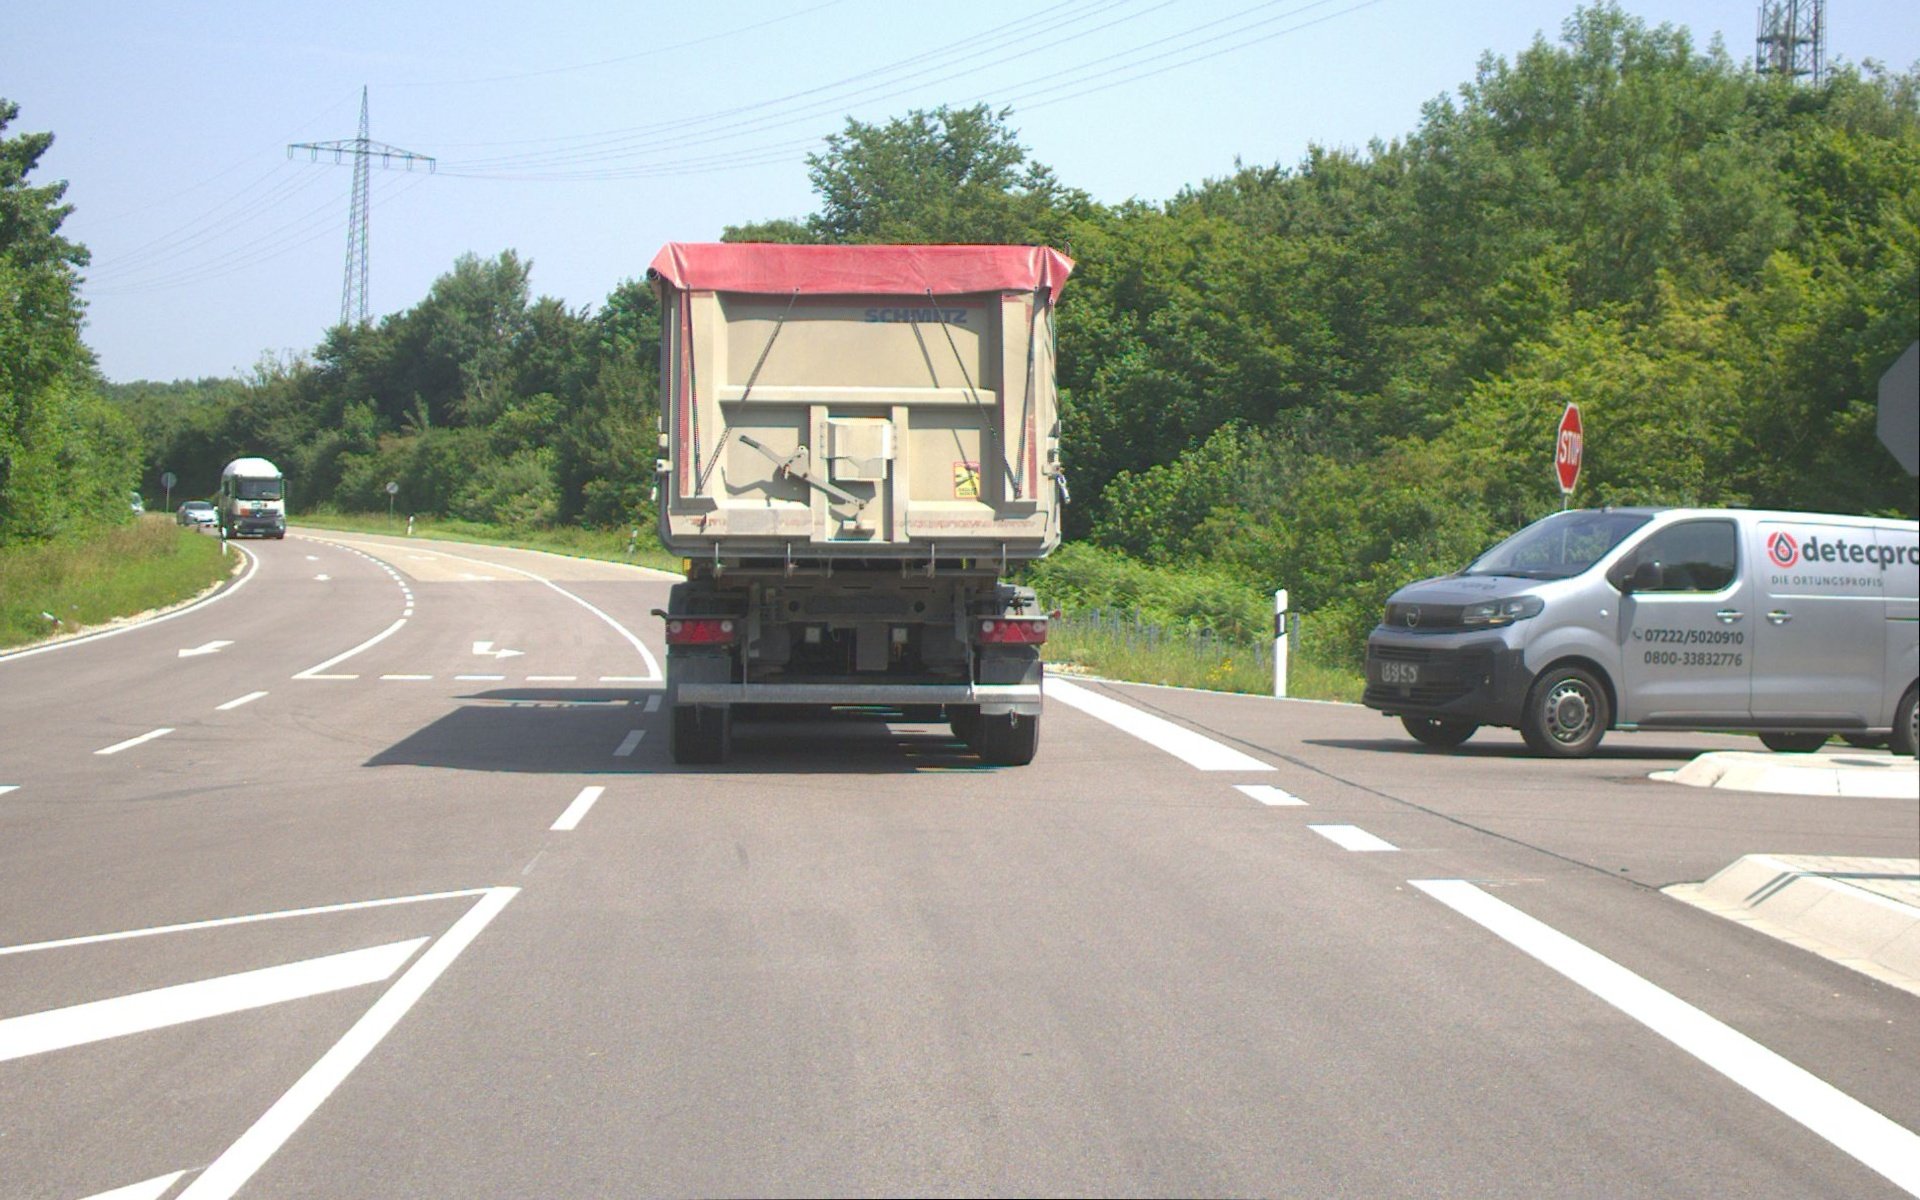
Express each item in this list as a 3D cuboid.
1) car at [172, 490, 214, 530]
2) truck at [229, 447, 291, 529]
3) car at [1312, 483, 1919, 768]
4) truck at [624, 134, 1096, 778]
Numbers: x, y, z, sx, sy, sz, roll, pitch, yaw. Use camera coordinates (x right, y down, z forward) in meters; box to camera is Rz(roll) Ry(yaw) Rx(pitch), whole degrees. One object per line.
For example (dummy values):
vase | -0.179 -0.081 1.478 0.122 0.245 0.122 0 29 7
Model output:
car | -35.791 -4.197 160.468 1.842 1.773 4.895 0 1 -12
truck | -32.034 -5.096 157.545 2.626 3.658 8.799 0 1 -10
car | 5.468 0.227 25.925 5.211 1.900 2.014 3 0 -24
truck | -1.064 -1.035 27.167 2.893 3.949 11.935 0 1 -4
